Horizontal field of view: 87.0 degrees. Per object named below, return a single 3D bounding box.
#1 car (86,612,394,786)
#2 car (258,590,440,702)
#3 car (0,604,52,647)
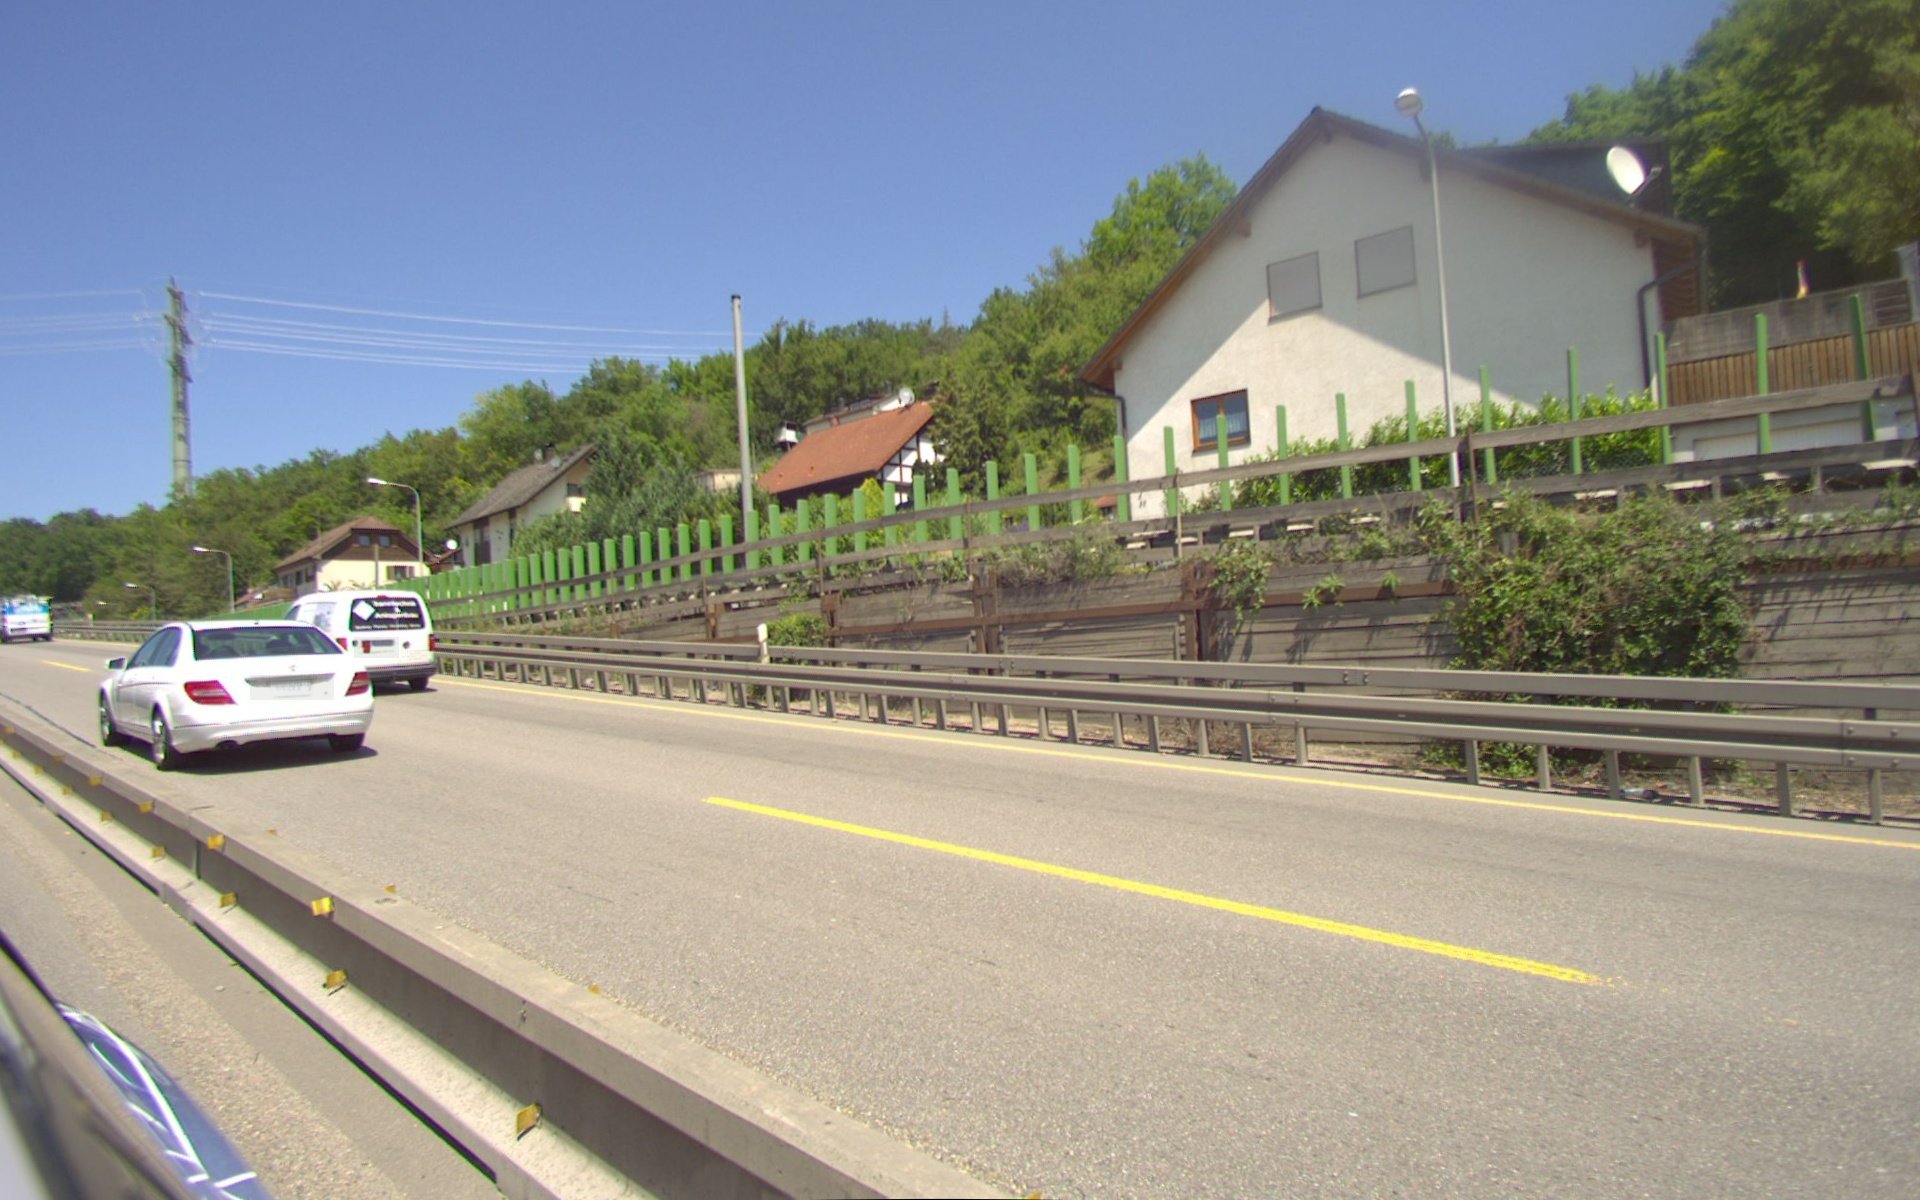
[{"bbox_3d":[-7.837,0.890,10.860,4.256,1.448,1.715,-1,1,41],"label":"car"},{"bbox_3d":[-11.467,0.787,18.846,4.751,1.847,1.579,-1,-1,42],"label":"car"},{"bbox_3d":[-45.362,1.212,48.560,5.236,1.940,1.808,-1,0,38],"label":"car"}]
